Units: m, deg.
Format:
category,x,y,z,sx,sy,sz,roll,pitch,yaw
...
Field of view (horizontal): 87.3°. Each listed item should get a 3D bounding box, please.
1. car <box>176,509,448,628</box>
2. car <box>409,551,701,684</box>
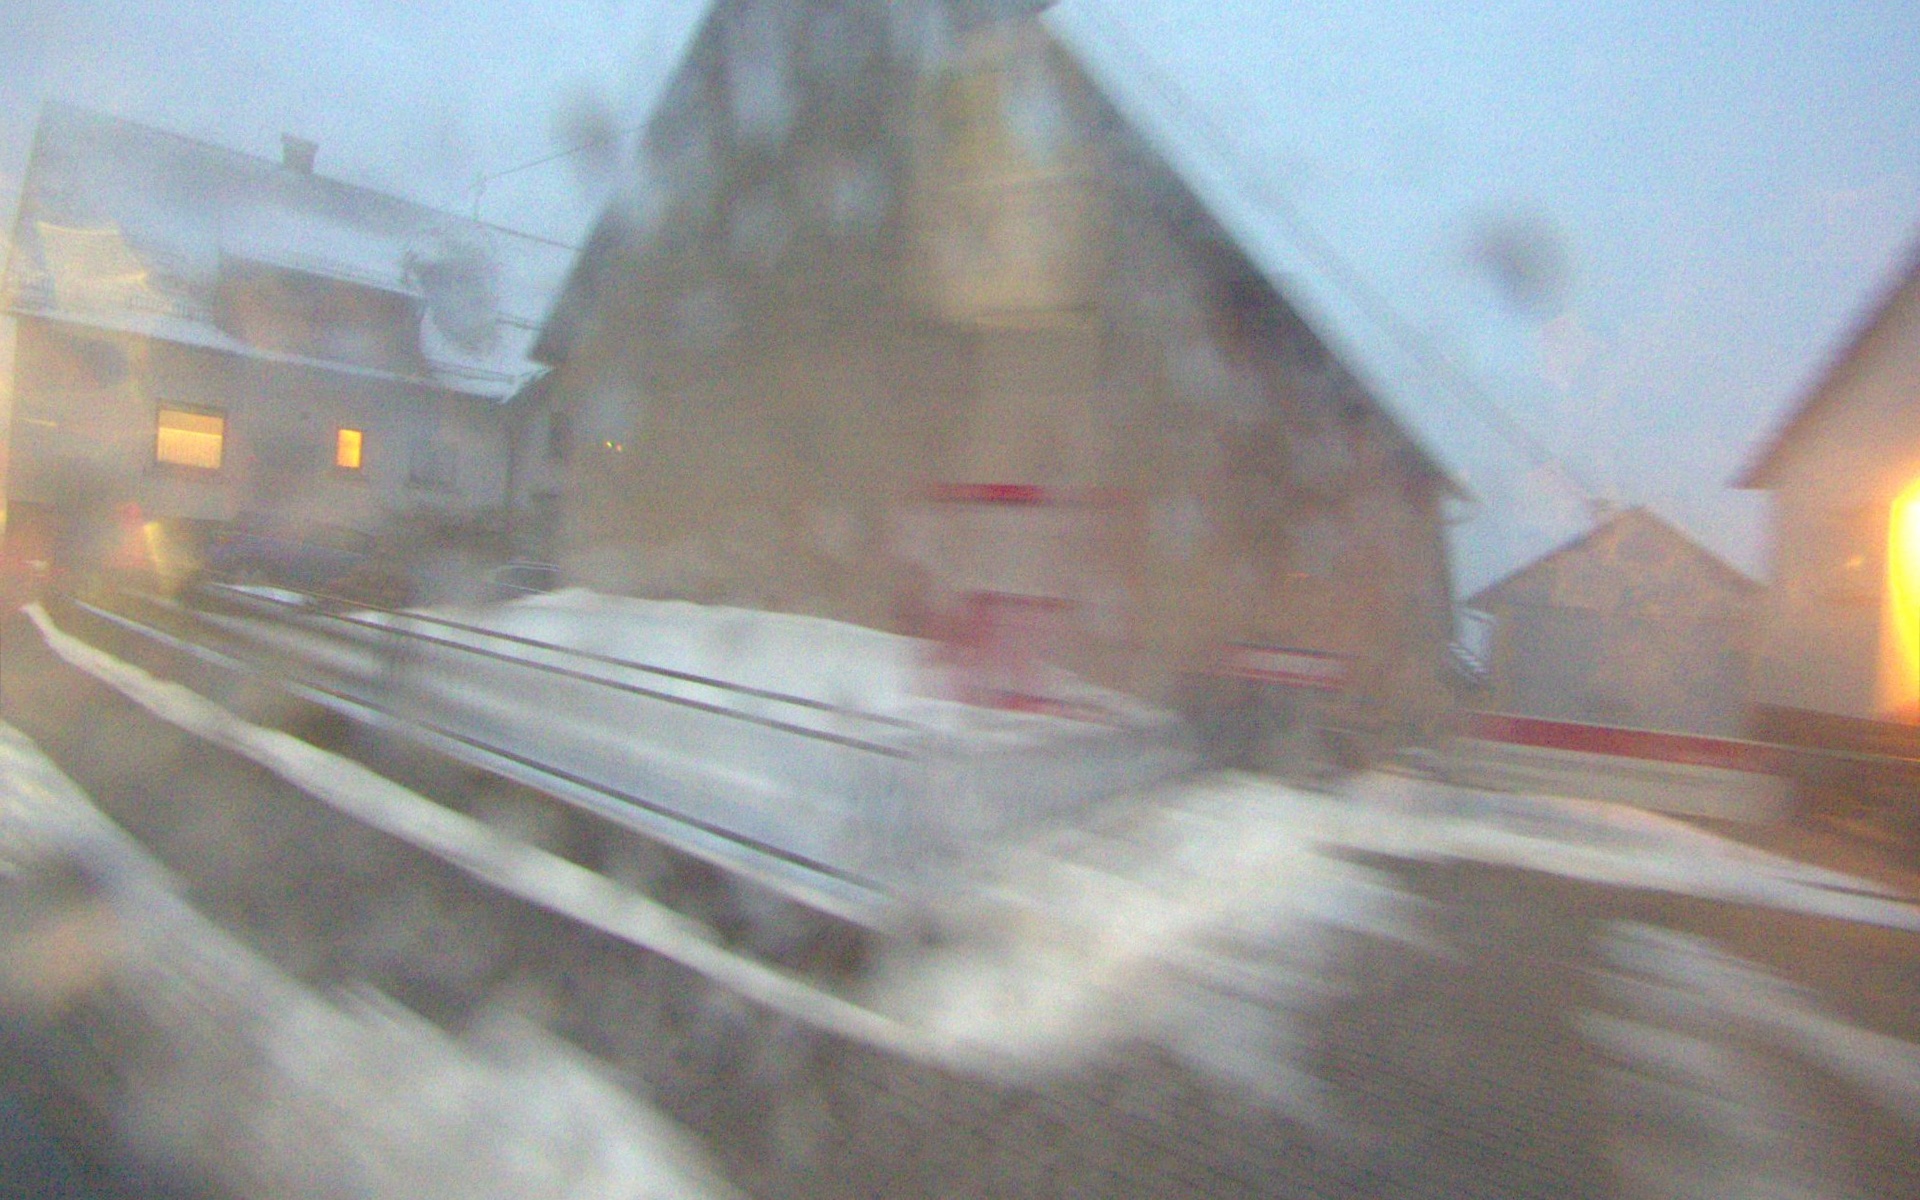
category,x,y,z,sx,sy,sz,roll,pitch,yaw
car,-12.224,-0.559,19.114,3.977,1.614,1.888,10,-2,-43
car,-6.420,0.299,16.360,3.934,1.389,1.756,10,-2,-8
